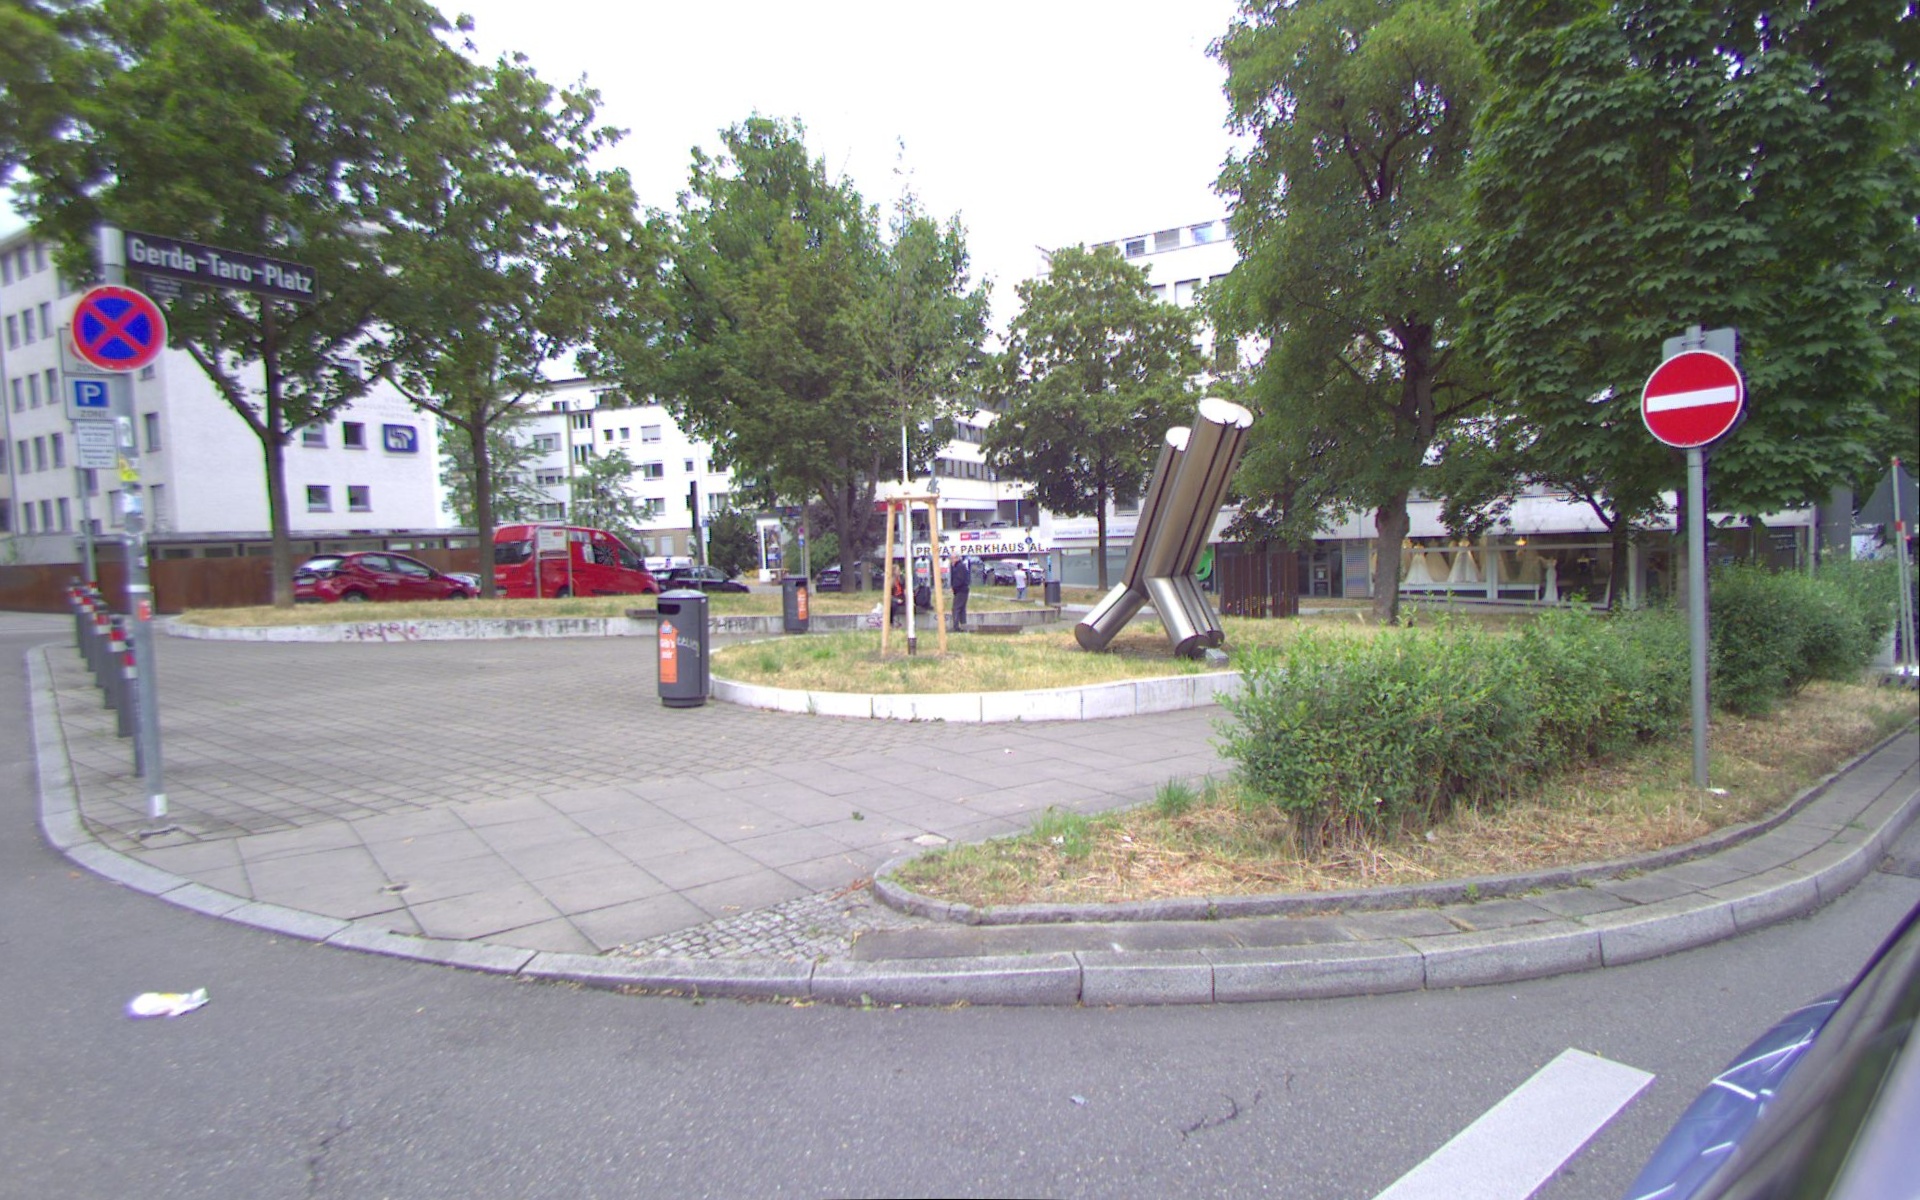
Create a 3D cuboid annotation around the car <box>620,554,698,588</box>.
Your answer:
[{"bbox_3d":[-18.038,-1.768,60.541,4.760,1.969,2.198,2,2,39],"label":"car"}]

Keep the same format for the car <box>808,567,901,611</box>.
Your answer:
[{"bbox_3d":[-4.443,-0.490,43.490,1.977,1.762,4.749,1,2,22],"label":"car"}]

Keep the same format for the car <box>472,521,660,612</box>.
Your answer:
[{"bbox_3d":[-10.585,-0.902,27.606,2.101,2.241,4.861,1,1,20],"label":"car"}]

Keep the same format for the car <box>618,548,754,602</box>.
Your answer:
[{"bbox_3d":[-8.664,-0.802,32.450,1.977,1.584,4.383,1,2,22],"label":"car"}]

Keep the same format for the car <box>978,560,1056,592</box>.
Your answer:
[{"bbox_3d":[3.146,-1.353,56.397,3.982,1.738,1.971,2,2,40],"label":"car"}]

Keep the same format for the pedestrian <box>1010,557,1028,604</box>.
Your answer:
[{"bbox_3d":[1.955,-0.645,33.719,0.518,1.552,0.674,0,1,-2],"label":"pedestrian"}]

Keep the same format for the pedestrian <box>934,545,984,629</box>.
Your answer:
[{"bbox_3d":[-0.011,-0.263,20.008,0.719,1.622,0.786,1,1,26],"label":"pedestrian"}]

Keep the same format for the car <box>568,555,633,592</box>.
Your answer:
[{"bbox_3d":[-22.894,-1.676,64.409,3.969,2.272,1.984,2,1,35],"label":"car"}]

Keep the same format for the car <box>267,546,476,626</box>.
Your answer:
[{"bbox_3d":[-12.697,-0.335,22.092,1.729,1.584,3.690,1,2,22],"label":"car"}]

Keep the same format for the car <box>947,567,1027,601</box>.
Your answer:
[{"bbox_3d":[1.454,-0.871,54.746,3.982,1.738,1.971,2,2,40],"label":"car"}]

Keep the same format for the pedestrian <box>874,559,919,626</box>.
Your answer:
[{"bbox_3d":[-1.280,-0.165,20.269,0.671,1.308,0.657,0,1,-32],"label":"pedestrian"}]

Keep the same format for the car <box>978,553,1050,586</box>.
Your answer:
[{"bbox_3d":[3.119,-1.753,59.193,3.977,1.708,1.667,-2,0,38],"label":"car"}]
